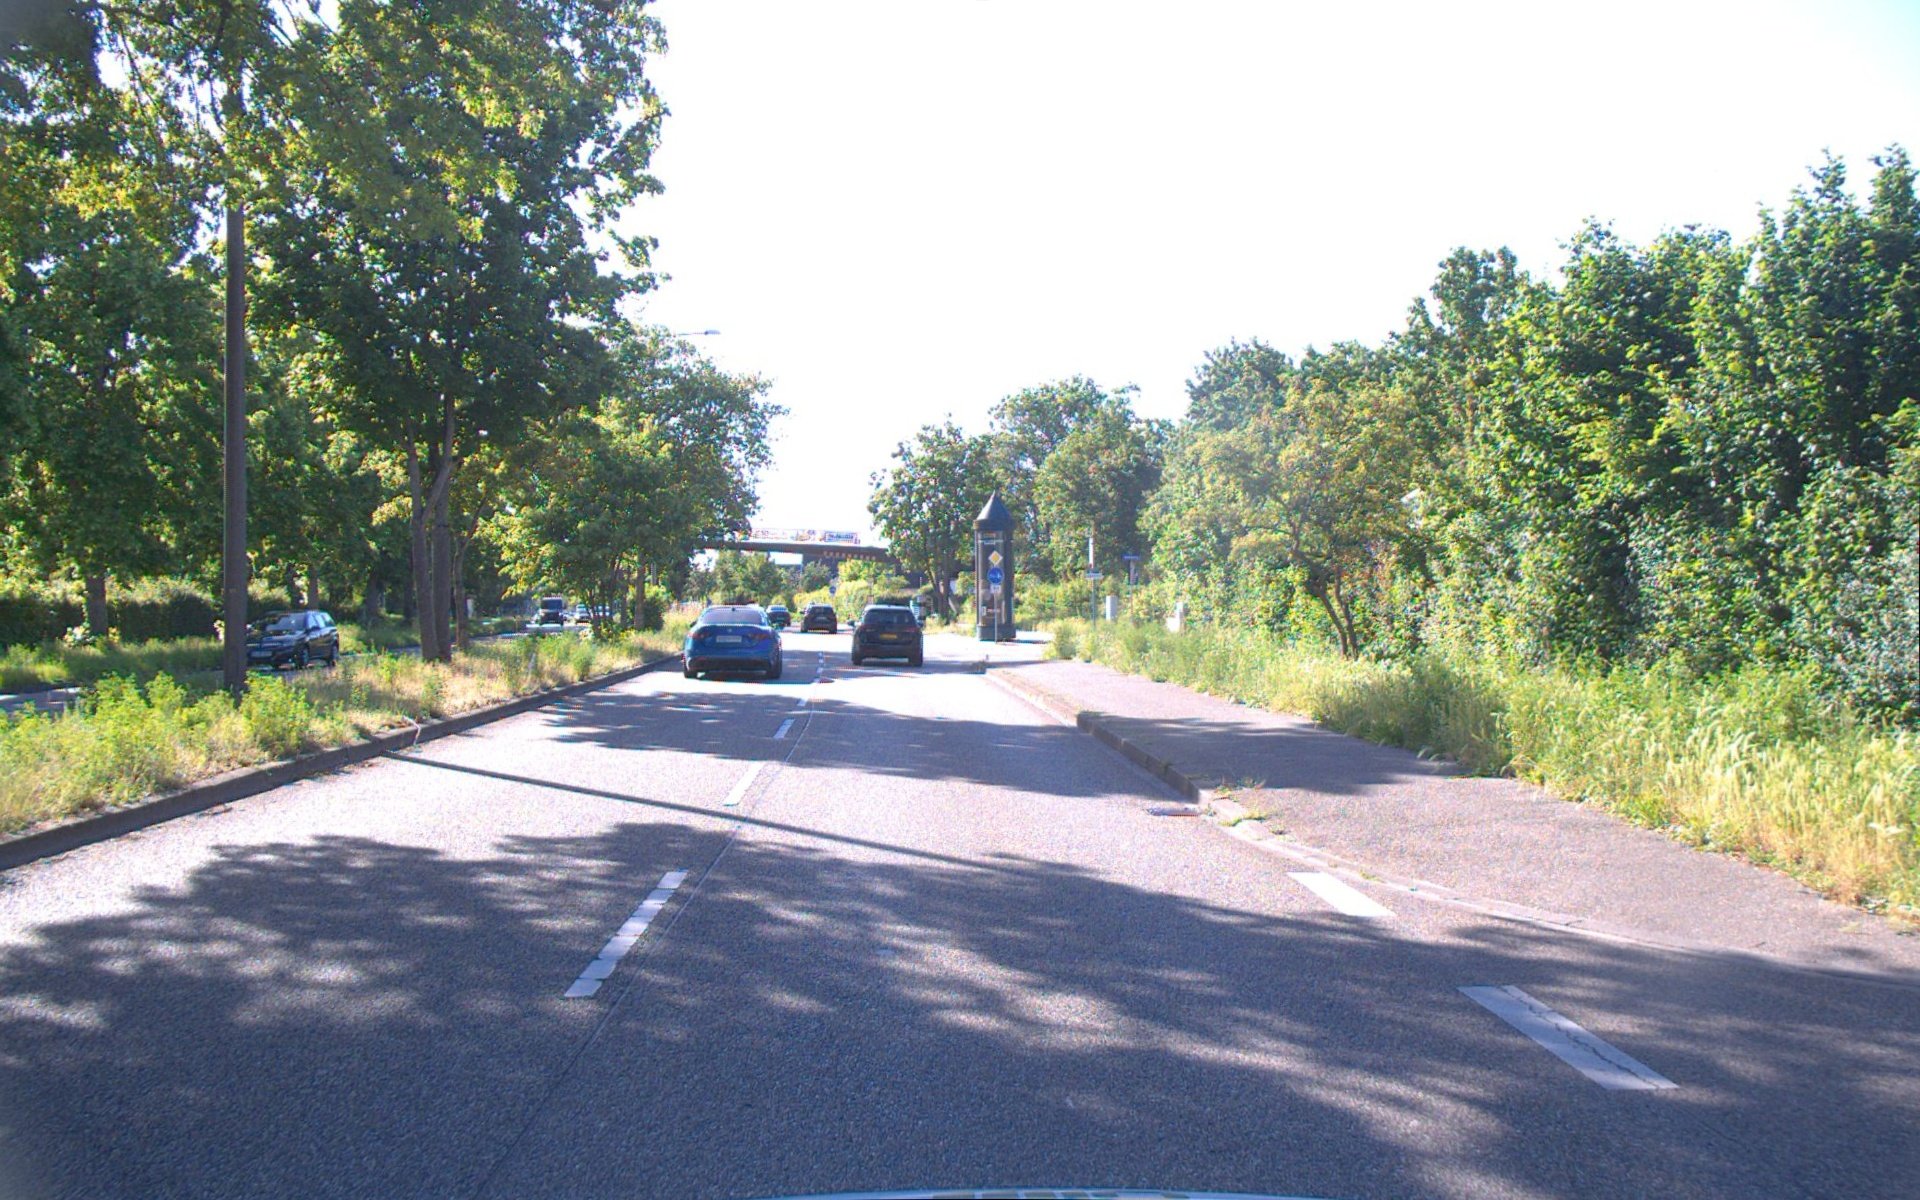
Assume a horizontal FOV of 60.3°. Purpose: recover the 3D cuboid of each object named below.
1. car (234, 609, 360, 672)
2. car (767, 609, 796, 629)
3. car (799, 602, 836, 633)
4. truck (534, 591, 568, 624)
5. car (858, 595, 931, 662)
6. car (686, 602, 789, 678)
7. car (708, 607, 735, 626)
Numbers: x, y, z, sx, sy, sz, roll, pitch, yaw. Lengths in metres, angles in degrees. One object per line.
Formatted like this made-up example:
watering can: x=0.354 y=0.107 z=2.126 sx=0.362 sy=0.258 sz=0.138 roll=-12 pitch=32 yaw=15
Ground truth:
car: x=-16.922 y=0.984 z=42.478 sx=1.660 sy=1.461 sz=4.934 roll=-2 pitch=0 yaw=-6
car: x=-13.040 y=1.371 z=120.579 sx=1.864 sy=1.380 sz=3.990 roll=0 pitch=0 yaw=-10
car: x=-7.632 y=0.915 z=88.380 sx=1.711 sy=1.625 sz=4.167 roll=0 pitch=0 yaw=-8
truck: x=-33.374 y=0.609 z=134.894 sx=2.139 sy=2.556 sz=5.711 roll=-2 pitch=0 yaw=-18
car: x=-1.693 y=0.741 z=42.107 sx=1.725 sy=1.587 sz=3.997 roll=1 pitch=-1 yaw=-3
car: x=-4.449 y=0.758 z=33.579 sx=1.956 sy=1.429 sz=3.995 roll=0 pitch=0 yaw=-6
car: x=-17.864 y=1.234 z=123.939 sx=1.864 sy=1.380 sz=3.990 roll=0 pitch=0 yaw=-10
